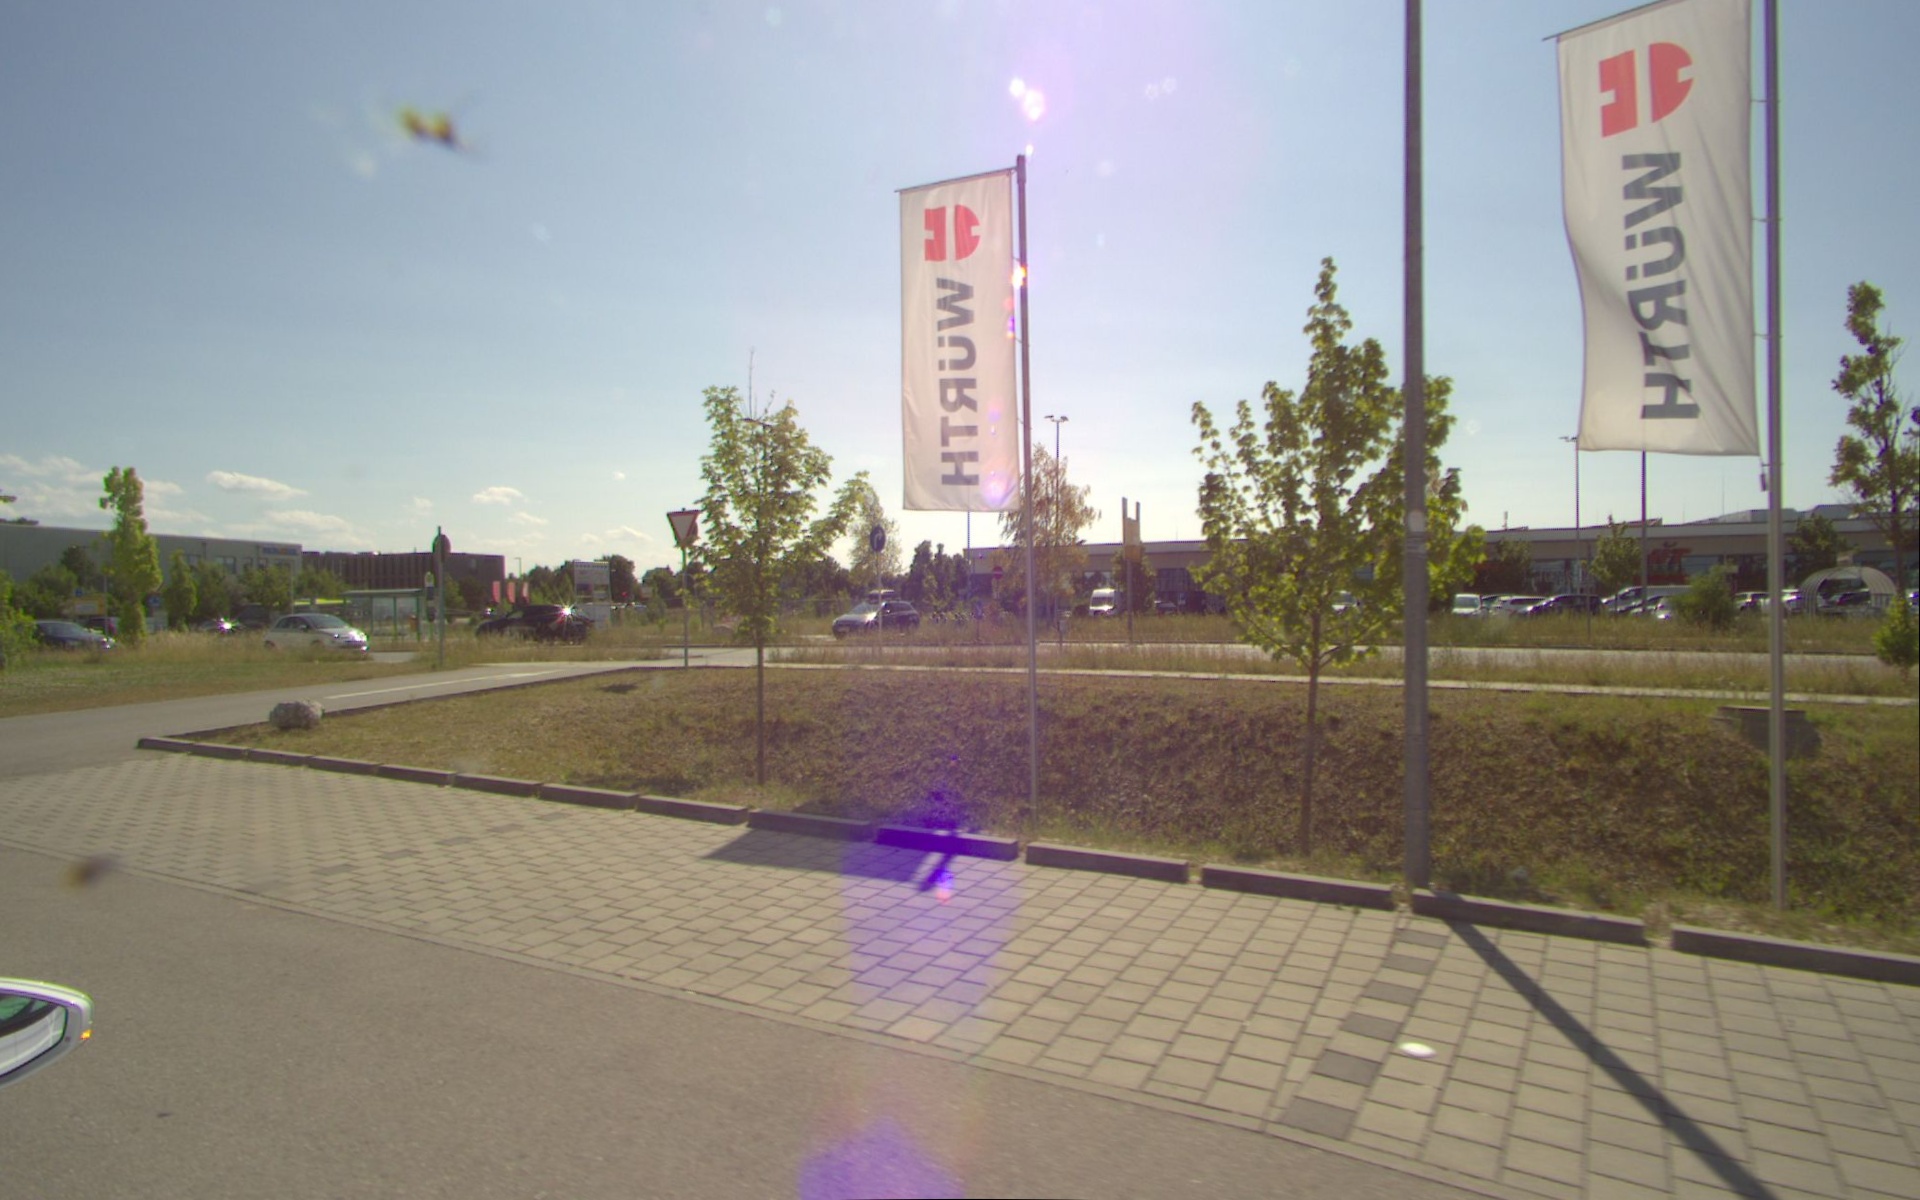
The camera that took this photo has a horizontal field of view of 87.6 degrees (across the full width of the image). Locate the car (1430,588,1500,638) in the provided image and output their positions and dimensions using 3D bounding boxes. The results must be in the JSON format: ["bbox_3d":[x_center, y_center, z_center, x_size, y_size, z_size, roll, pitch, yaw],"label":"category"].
[{"bbox_3d":[21.980,0.553,43.487,2.134,2.040,5.087,0,0,33],"label":"car"}]

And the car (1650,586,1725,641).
[{"bbox_3d":[28.574,0.504,39.456,2.134,2.040,5.087,0,0,33],"label":"car"}]

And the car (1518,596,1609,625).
[{"bbox_3d":[30.776,0.557,51.180,3.664,1.409,1.729,-1,0,17],"label":"car"}]

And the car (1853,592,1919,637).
[{"bbox_3d":[48.730,0.732,50.992,4.401,2.220,1.998,0,0,14],"label":"car"}]

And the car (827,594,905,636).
[{"bbox_3d":[-3.611,0.579,39.338,1.962,1.536,4.195,0,-1,11],"label":"car"}]

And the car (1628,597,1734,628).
[{"bbox_3d":[35.903,0.625,49.992,3.931,1.528,1.870,0,0,21],"label":"car"}]

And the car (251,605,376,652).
[{"bbox_3d":[-22.520,0.962,34.907,3.715,1.571,1.739,0,0,18],"label":"car"}]

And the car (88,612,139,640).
[{"bbox_3d":[-58.798,1.801,69.627,1.800,1.884,3.984,0,-1,-26],"label":"car"}]

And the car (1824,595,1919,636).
[{"bbox_3d":[49.731,0.821,53.931,4.410,2.130,1.994,0,0,24],"label":"car"}]

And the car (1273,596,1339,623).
[{"bbox_3d":[20.957,0.583,60.676,3.740,1.528,1.728,-1,0,20],"label":"car"}]

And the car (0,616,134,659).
[{"bbox_3d":[-34.106,1.392,37.680,4.305,1.571,1.913,0,0,-8],"label":"car"}]

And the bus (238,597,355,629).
[{"bbox_3d":[-60.441,1.106,91.709,2.530,2.771,11.567,0,0,3],"label":"bus"}]

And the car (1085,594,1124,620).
[{"bbox_3d":[11.408,0.551,78.873,2.189,2.003,6.687,-1,0,16],"label":"car"}]

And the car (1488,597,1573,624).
[{"bbox_3d":[30.720,0.558,54.009,3.664,1.409,1.729,-1,0,17],"label":"car"}]

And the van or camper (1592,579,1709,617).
[{"bbox_3d":[37.855,-0.094,55.037,4.965,2.040,1.995,0,1,22],"label":"van or camper"}]

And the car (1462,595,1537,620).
[{"bbox_3d":[32.156,0.460,59.793,3.664,1.409,1.729,-1,0,17],"label":"car"}]

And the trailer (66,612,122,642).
[{"bbox_3d":[-57.072,1.751,66.042,1.800,1.884,3.984,0,-1,-26],"label":"trailer"}]

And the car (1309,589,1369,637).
[{"bbox_3d":[17.454,0.580,45.961,2.055,2.040,5.208,0,0,27],"label":"car"}]
